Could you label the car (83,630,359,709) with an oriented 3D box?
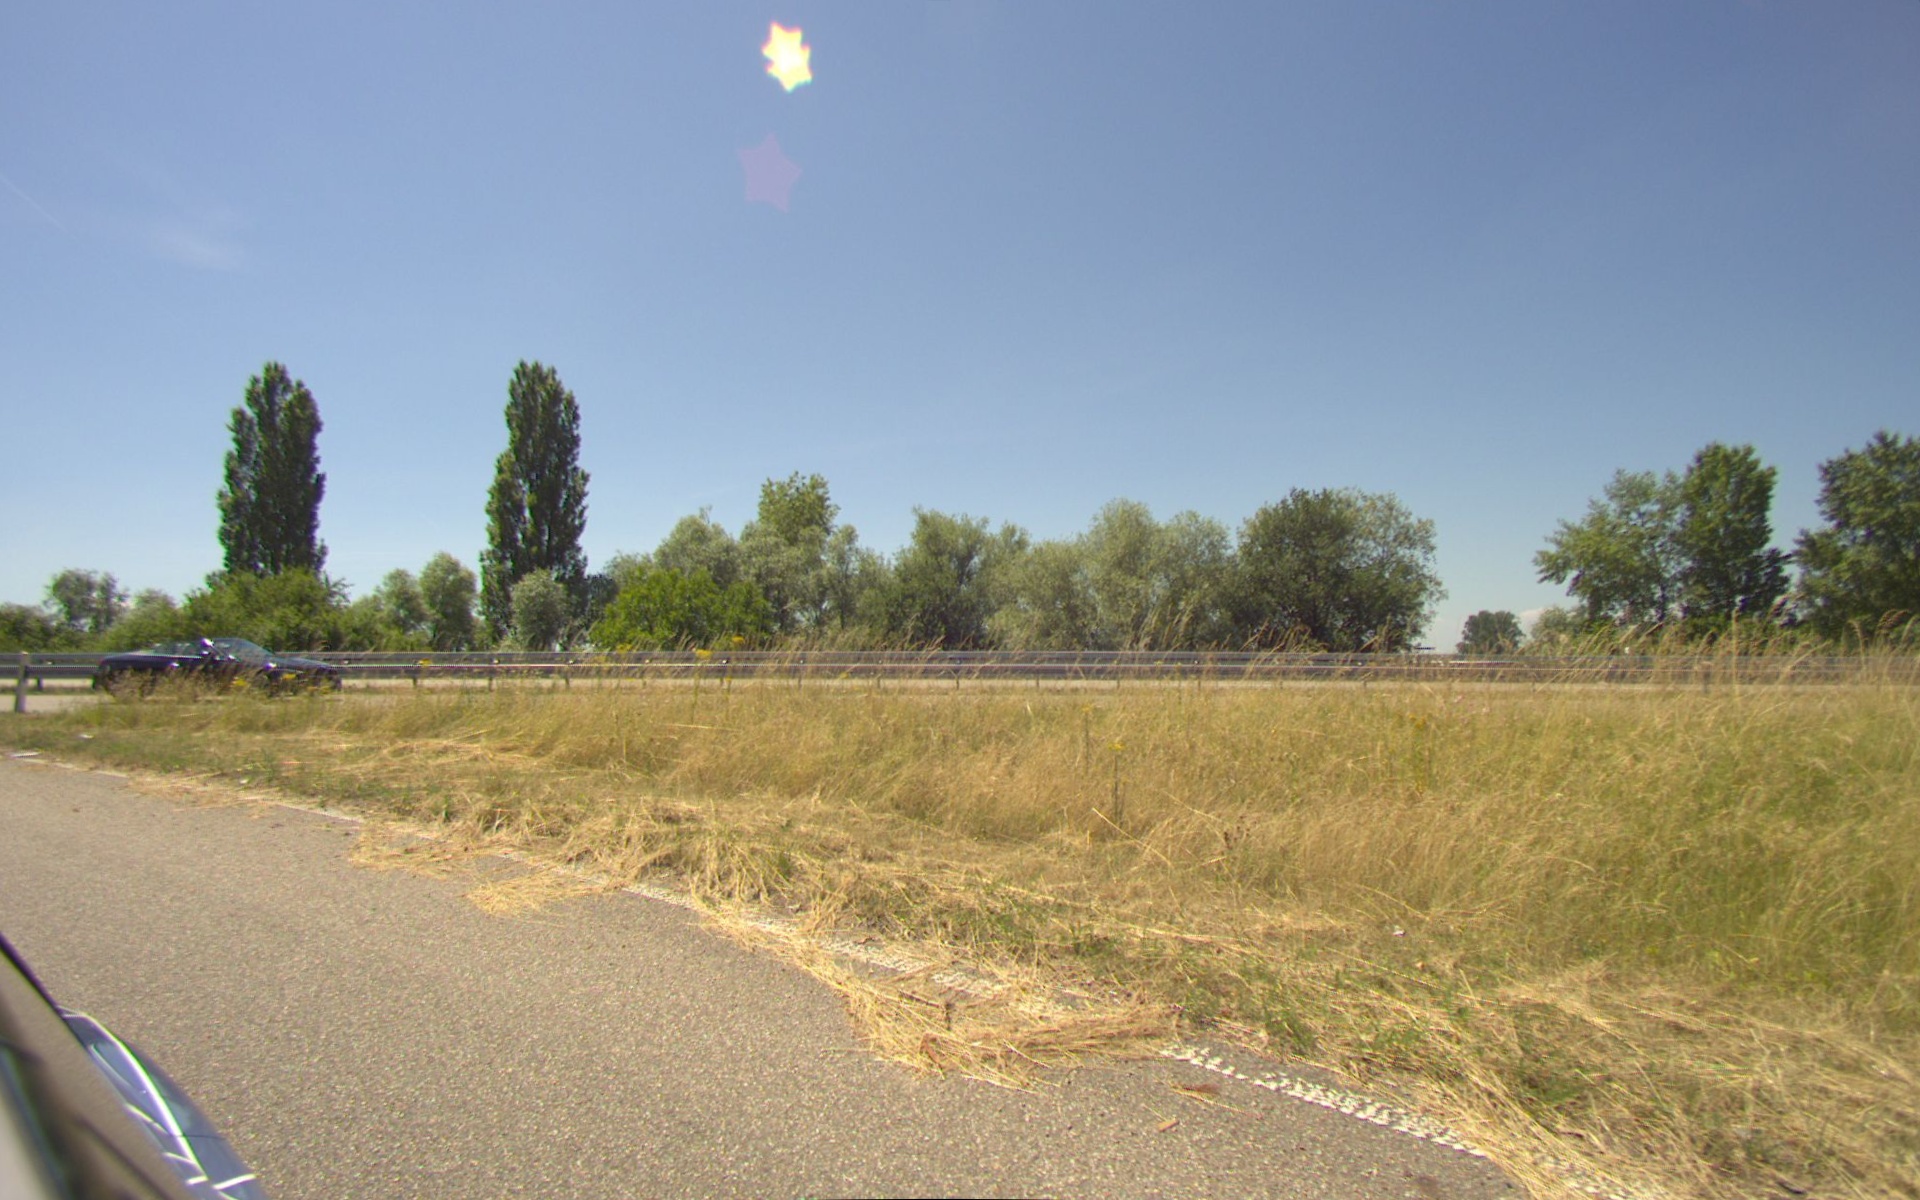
[{"bbox_3d":[-15.927,1.466,21.992,4.580,1.585,1.999,-1,-2,1],"label":"car"}]
